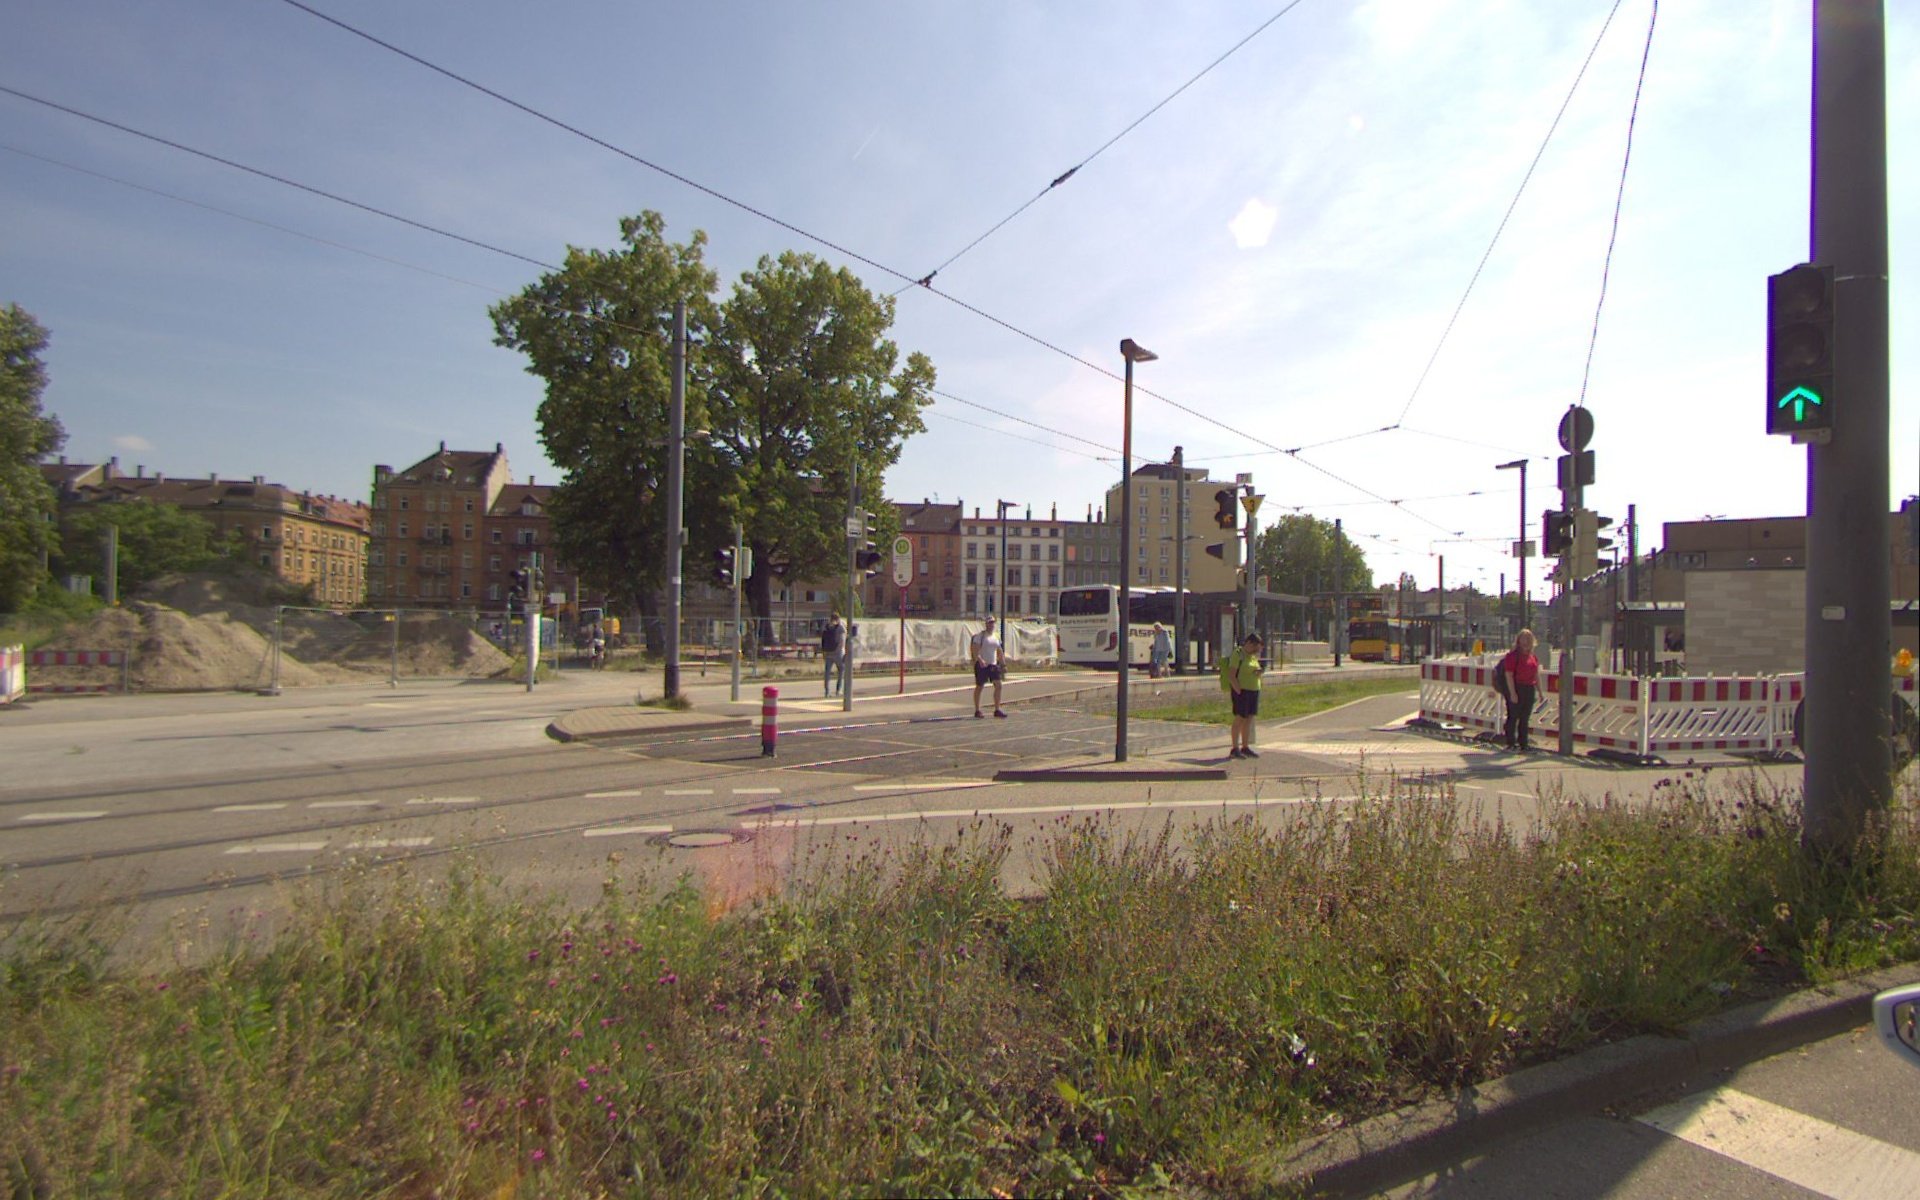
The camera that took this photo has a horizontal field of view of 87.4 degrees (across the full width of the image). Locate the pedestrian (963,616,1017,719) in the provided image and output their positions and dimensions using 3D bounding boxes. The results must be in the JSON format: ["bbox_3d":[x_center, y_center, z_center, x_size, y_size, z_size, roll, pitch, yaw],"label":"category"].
[{"bbox_3d":[0.541,1.211,18.300,0.828,1.836,0.647,1,-1,-17],"label":"pedestrian"}]

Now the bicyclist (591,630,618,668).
[{"bbox_3d":[-13.159,1.789,37.172,0.614,1.378,1.160,2,-2,-38],"label":"bicyclist"}]

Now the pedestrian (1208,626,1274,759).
[{"bbox_3d":[3.464,1.117,12.383,0.656,1.564,0.422,2,2,32],"label":"pedestrian"}]

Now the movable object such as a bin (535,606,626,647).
[{"bbox_3d":[-29.551,2.095,78.265,6.459,3.049,2.570,1,-2,-22],"label":"movable object such as a bin"}]

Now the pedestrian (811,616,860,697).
[{"bbox_3d":[-2.760,1.234,22.219,0.925,1.735,0.554,1,-1,-29],"label":"pedestrian"}]

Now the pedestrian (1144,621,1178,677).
[{"bbox_3d":[5.954,1.434,29.784,0.782,1.637,0.659,-1,-1,41],"label":"pedestrian"}]

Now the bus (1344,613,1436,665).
[{"bbox_3d":[30.035,2.737,69.718,2.817,3.324,12.609,-1,-3,38],"label":"bus"}]

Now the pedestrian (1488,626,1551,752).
[{"bbox_3d":[7.450,1.171,13.387,0.675,1.637,0.349,1,-2,-16],"label":"pedestrian"}]

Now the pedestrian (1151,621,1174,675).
[{"bbox_3d":[6.245,1.470,30.955,0.675,1.637,0.586,0,-1,11],"label":"pedestrian"}]

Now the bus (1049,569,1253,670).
[{"bbox_3d":[8.218,0.913,40.926,2.817,3.535,12.609,-1,-3,38],"label":"bus"}]

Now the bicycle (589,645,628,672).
[{"bbox_3d":[-12.923,2.147,36.871,0.756,0.935,2.048,2,-3,-37],"label":"bicycle"}]
